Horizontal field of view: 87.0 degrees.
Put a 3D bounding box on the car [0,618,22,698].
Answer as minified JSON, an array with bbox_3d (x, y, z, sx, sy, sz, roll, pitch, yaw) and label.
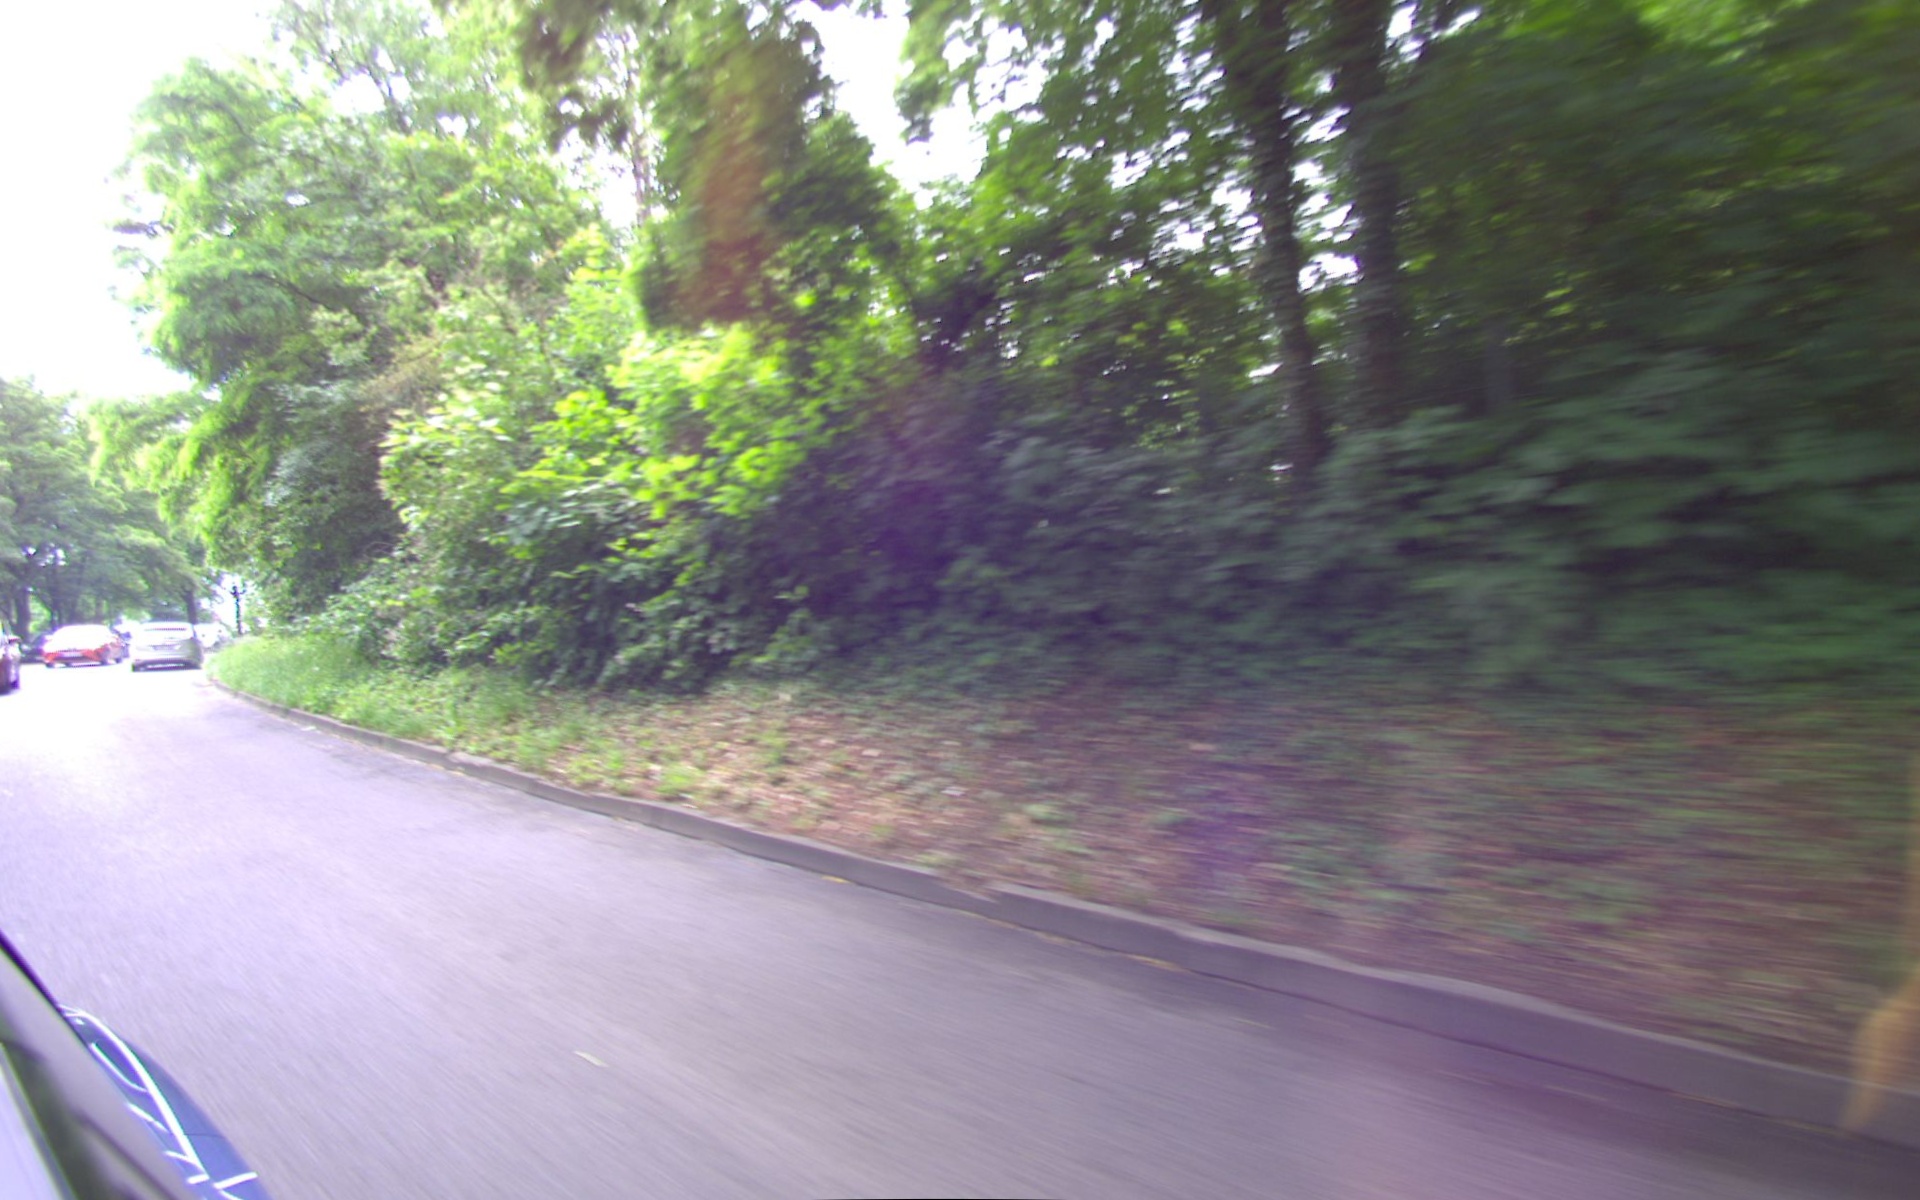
[{"bbox_3d":[-21.601,1.242,21.580,1.973,1.620,4.686,-2,0,-39],"label":"car"}]

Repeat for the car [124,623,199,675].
[{"bbox_3d":[-25.708,1.542,32.539,1.772,1.519,4.007,-1,-1,-40],"label":"car"}]

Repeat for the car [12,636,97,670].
[{"bbox_3d":[-40.132,2.308,44.955,1.687,1.265,4.692,-2,0,-28],"label":"car"}]

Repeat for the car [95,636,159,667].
[{"bbox_3d":[-44.599,2.732,54.304,1.687,1.432,4.692,-2,0,-28],"label":"car"}]

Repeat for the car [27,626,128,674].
[{"bbox_3d":[-31.721,1.741,36.515,1.926,1.483,4.691,-2,0,-31],"label":"car"}]
